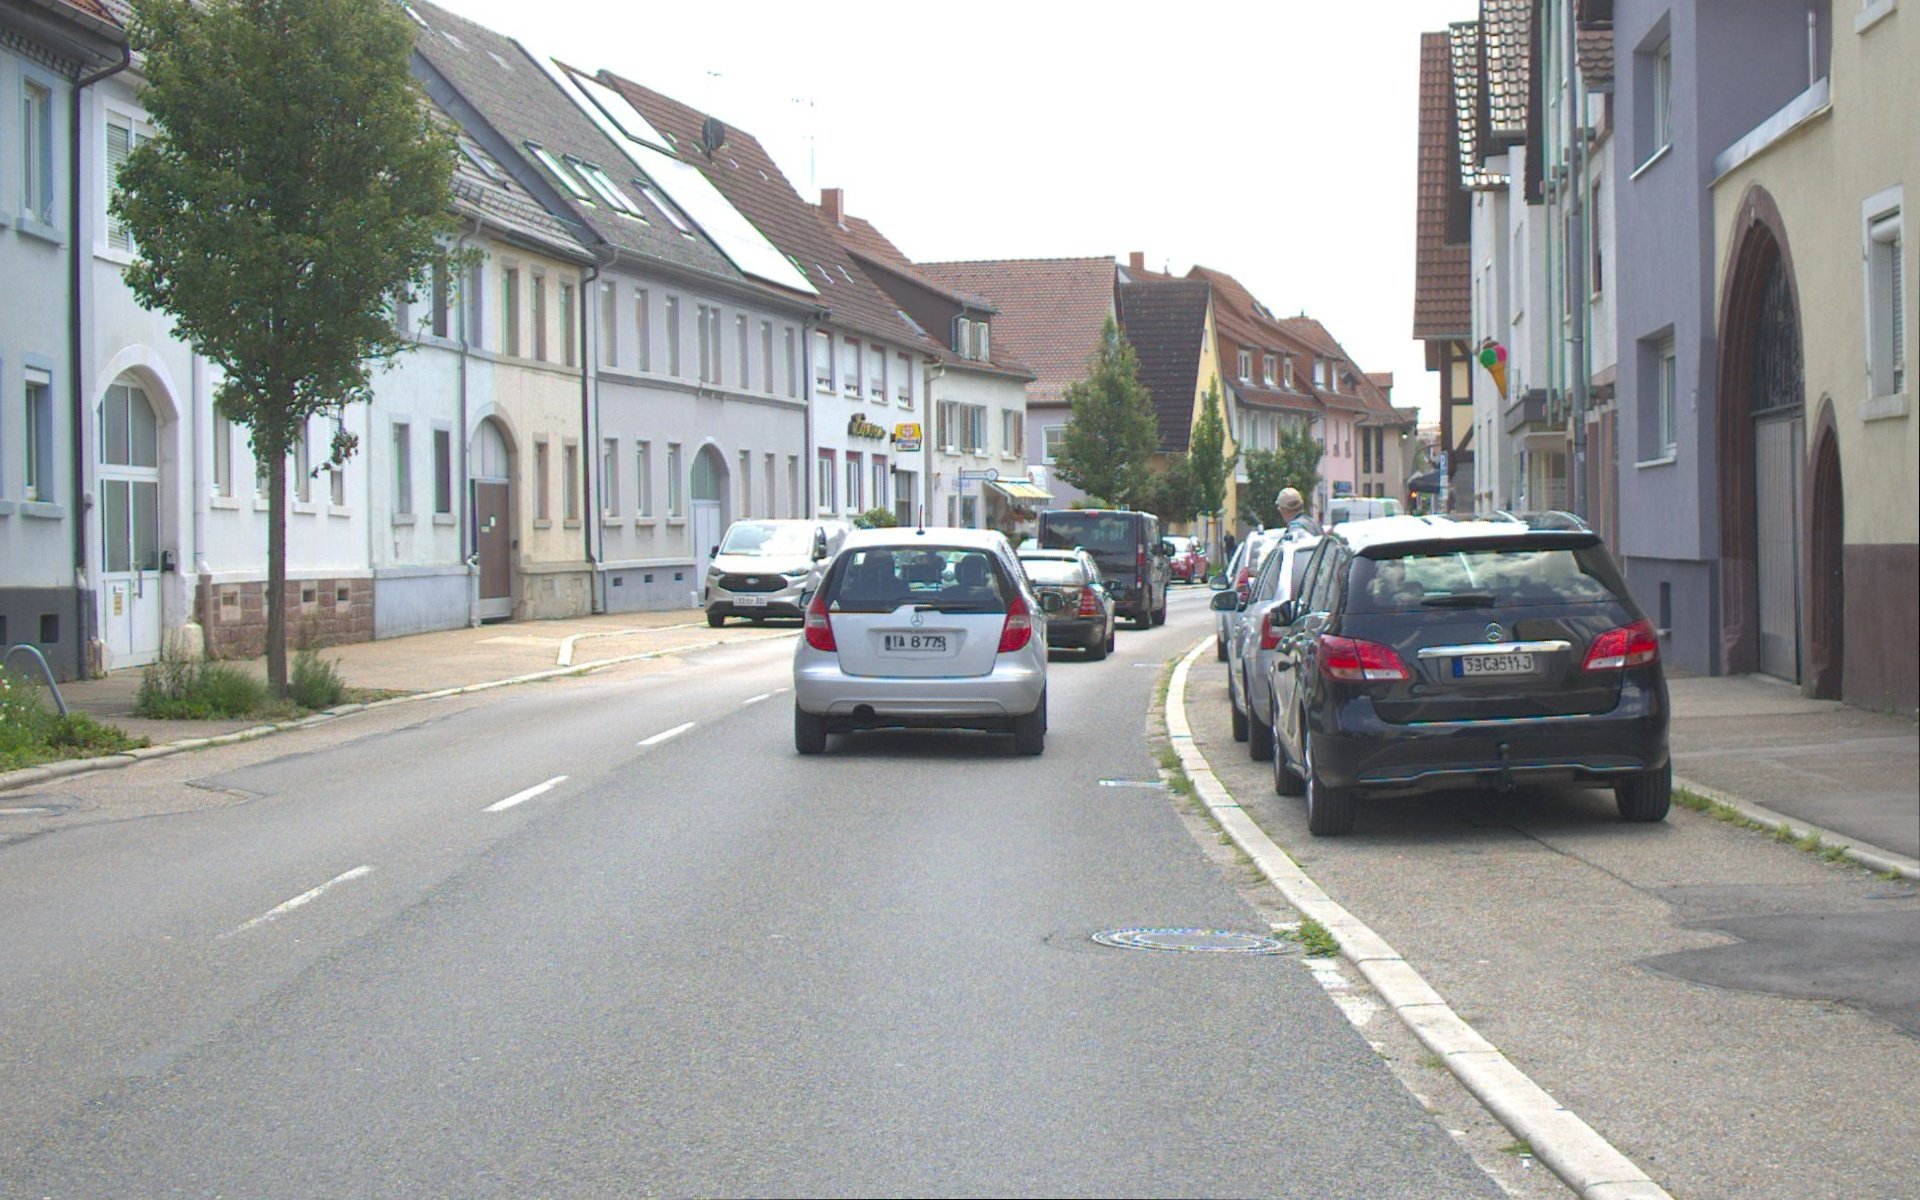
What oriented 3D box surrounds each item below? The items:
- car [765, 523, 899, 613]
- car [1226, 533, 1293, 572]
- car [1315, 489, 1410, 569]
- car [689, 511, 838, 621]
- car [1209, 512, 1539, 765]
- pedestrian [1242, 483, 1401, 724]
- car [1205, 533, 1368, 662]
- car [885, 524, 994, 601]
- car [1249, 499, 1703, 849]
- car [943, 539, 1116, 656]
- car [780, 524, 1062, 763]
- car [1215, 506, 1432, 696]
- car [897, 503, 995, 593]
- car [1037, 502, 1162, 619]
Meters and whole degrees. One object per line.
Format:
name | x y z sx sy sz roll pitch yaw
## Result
car | -2.562 -0.661 69.774 1.994 1.700 3.999 -2 0 8
car | 10.276 -1.624 117.757 1.706 1.264 3.998 -2 0 13
car | 11.730 -2.053 99.897 2.237 2.214 3.998 -2 0 13
car | -3.528 -0.641 62.394 2.092 1.877 3.999 -1 1 5
car | 2.758 0.226 23.753 1.861 1.526 4.196 -2 0 2
pedestrian | 2.838 0.012 26.849 1.095 1.815 1.469 -1 1 10
car | 3.990 -0.046 42.159 1.861 1.458 3.449 -2 0 5
car | -0.441 -0.866 78.316 1.792 1.643 3.999 -2 0 9
car | 2.580 0.296 18.080 1.994 1.554 4.000 -3 1 4
car | 0.945 -0.052 44.385 1.945 1.402 3.999 1 1 5
car | -0.212 0.279 25.478 1.769 1.589 4.000 1 1 4
car | 3.401 -0.011 32.569 1.861 1.620 4.196 -2 0 5
car | -0.296 -1.212 80.861 1.994 2.007 4.000 -2 0 3
car | 2.397 -0.662 58.151 1.769 1.881 4.446 1 1 6
